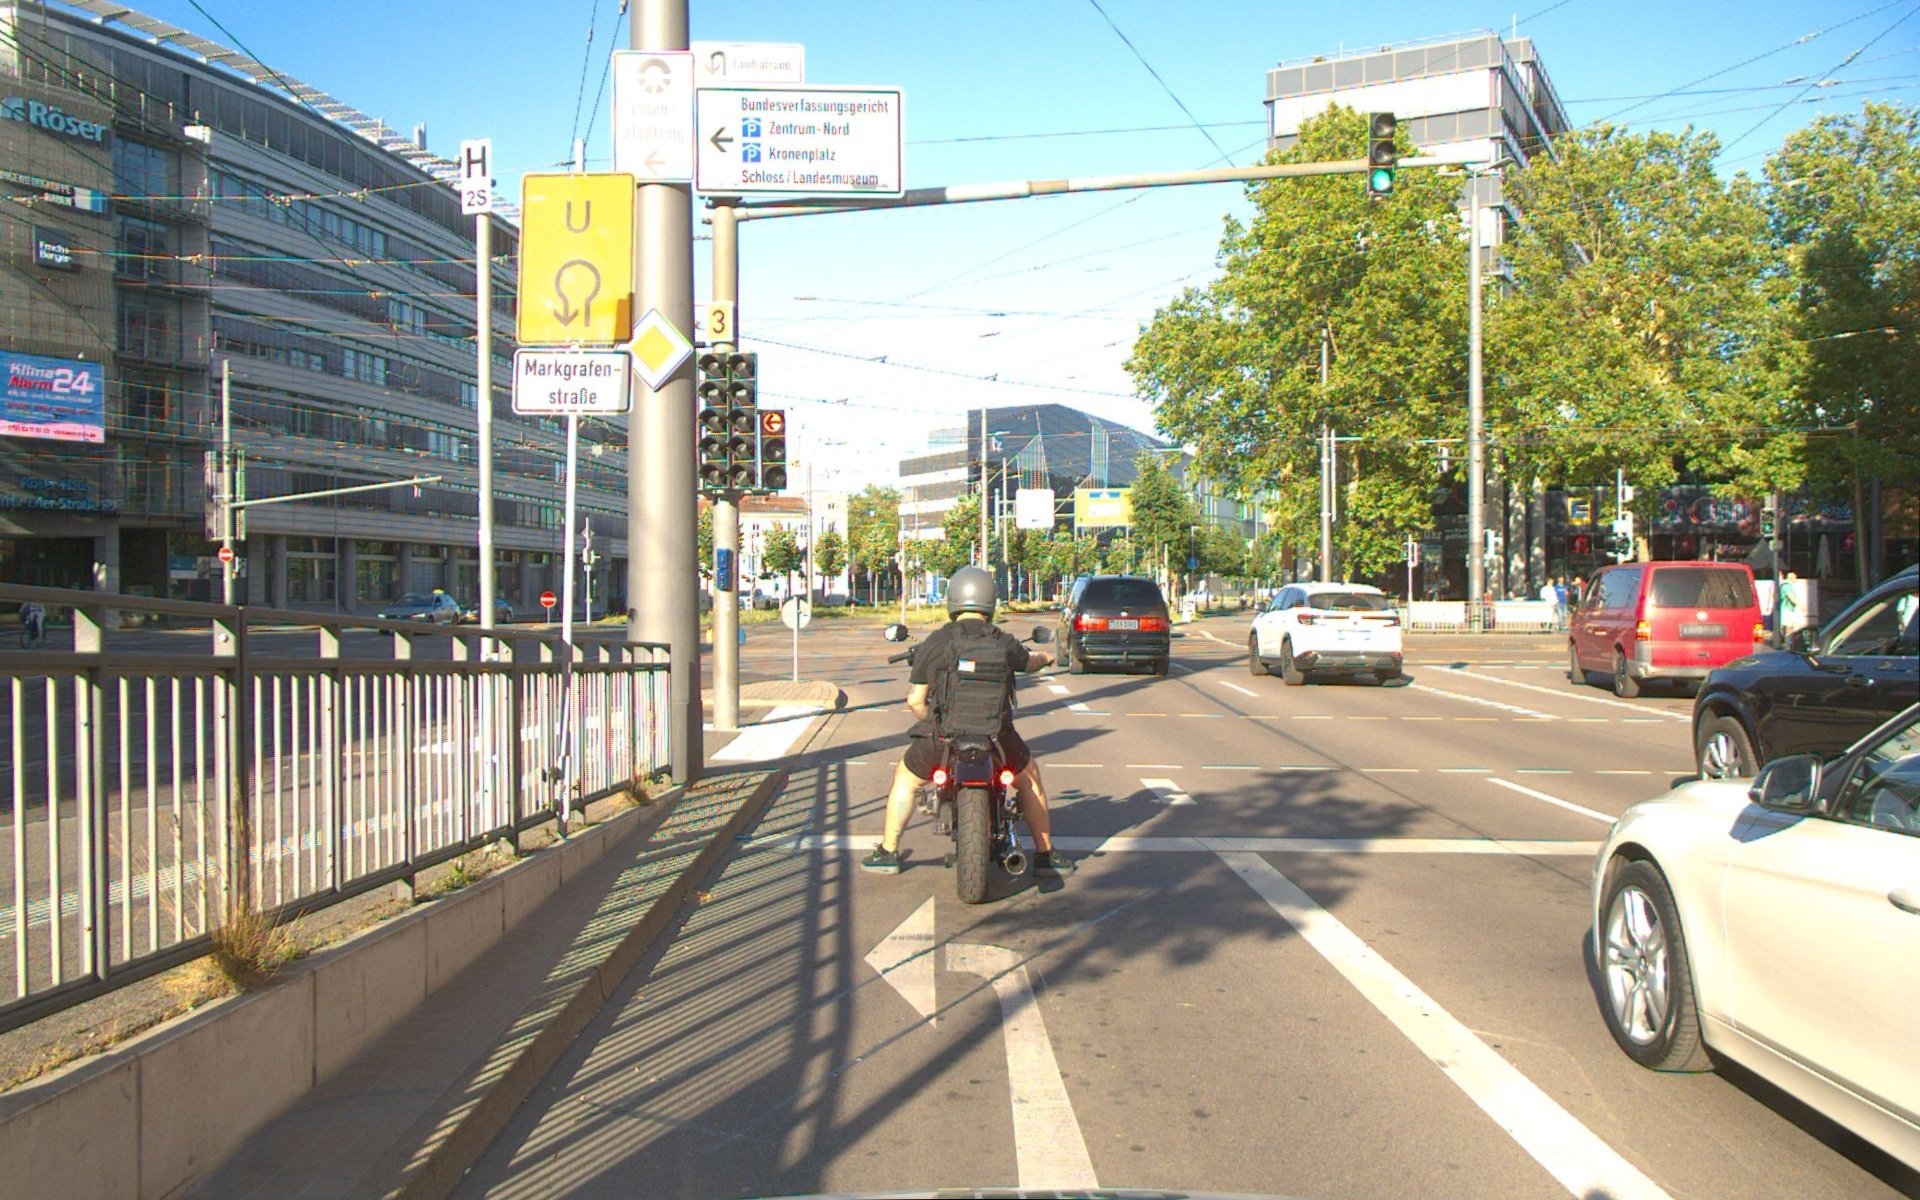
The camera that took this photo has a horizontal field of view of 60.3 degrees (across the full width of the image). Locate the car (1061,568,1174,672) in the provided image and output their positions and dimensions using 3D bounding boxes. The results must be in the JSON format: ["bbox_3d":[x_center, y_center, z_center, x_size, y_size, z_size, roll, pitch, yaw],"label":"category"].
[{"bbox_3d":[2.757,0.343,29.696,1.766,1.708,4.042,1,0,2],"label":"car"}]

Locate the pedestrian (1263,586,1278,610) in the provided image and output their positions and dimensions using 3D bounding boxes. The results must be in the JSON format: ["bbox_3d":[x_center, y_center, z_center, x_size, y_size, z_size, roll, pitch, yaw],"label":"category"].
[{"bbox_3d":[17.655,-0.106,94.172,0.802,1.337,0.638,1,-1,8],"label":"pedestrian"}]

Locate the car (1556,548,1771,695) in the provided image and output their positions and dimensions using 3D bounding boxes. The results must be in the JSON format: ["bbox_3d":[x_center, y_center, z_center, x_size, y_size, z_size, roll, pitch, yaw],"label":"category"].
[{"bbox_3d":[10.692,0.318,25.491,1.765,2.044,4.476,-1,0,6],"label":"car"}]

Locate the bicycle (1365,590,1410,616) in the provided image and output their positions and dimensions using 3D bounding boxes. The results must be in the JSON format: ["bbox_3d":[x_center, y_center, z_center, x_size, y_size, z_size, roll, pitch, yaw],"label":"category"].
[{"bbox_3d":[18.236,0.144,70.603,1.842,1.064,0.360,1,-1,-2],"label":"bicycle"}]

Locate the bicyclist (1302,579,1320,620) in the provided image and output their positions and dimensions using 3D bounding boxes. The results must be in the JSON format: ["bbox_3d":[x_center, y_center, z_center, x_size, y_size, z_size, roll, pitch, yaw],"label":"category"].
[{"bbox_3d":[14.532,-0.010,68.431,0.673,1.702,0.541,0,-1,18],"label":"bicyclist"}]

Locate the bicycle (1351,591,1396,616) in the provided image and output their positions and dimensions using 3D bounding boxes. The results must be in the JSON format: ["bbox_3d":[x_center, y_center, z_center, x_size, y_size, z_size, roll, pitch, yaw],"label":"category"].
[{"bbox_3d":[18.194,0.146,72.777,1.842,1.064,0.360,1,0,-2],"label":"bicycle"}]

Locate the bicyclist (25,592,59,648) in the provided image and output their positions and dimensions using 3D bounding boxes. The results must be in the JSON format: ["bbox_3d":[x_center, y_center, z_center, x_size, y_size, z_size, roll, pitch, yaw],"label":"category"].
[{"bbox_3d":[-26.066,0.568,46.979,0.574,1.560,0.650,1,-1,-1],"label":"bicyclist"}]

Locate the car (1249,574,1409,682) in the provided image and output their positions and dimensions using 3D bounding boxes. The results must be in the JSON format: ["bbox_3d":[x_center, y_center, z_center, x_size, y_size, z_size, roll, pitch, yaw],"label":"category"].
[{"bbox_3d":[5.990,0.445,27.279,1.696,1.626,4.040,1,0,-1],"label":"car"}]

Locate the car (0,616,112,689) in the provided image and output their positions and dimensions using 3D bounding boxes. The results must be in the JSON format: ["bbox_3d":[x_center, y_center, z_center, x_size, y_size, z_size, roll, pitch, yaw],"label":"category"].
[{"bbox_3d":[-14.713,0.795,25.419,2.835,1.081,1.235,1,-1,-22],"label":"car"}]

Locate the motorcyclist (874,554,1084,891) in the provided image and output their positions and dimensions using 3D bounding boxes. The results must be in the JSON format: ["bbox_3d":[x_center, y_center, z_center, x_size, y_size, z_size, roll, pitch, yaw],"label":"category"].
[{"bbox_3d":[0.087,0.589,8.429,1.009,1.621,0.873,0,0,-1],"label":"motorcyclist"}]

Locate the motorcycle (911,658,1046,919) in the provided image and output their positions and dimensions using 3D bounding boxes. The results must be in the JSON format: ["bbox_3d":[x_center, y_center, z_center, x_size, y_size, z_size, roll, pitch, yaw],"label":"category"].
[{"bbox_3d":[0.069,0.884,8.515,0.588,1.054,2.233,1,1,-1],"label":"motorcycle"}]

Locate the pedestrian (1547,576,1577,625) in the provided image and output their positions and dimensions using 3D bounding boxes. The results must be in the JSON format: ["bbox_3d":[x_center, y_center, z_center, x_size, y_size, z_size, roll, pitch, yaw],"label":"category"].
[{"bbox_3d":[18.686,0.023,51.314,0.557,1.505,0.698,1,-1,-19],"label":"pedestrian"}]

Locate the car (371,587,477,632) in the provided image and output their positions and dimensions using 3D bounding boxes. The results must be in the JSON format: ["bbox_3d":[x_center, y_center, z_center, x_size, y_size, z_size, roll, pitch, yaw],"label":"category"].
[{"bbox_3d":[-20.019,0.343,62.000,1.786,1.596,4.698,-1,0,9],"label":"car"}]

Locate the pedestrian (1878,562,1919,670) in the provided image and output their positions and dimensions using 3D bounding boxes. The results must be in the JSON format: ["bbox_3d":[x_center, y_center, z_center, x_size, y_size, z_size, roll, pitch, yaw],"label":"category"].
[{"bbox_3d":[16.282,0.264,28.336,0.581,1.811,0.681,-3,-1,-3],"label":"pedestrian"}]

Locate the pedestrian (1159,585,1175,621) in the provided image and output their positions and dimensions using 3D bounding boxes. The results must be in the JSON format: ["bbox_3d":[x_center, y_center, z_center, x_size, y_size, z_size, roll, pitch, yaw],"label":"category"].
[{"bbox_3d":[8.961,0.130,71.658,0.576,1.584,0.488,1,-1,-9],"label":"pedestrian"}]

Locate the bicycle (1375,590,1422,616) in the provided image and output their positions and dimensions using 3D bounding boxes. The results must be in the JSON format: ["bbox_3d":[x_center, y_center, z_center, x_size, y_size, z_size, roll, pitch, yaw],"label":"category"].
[{"bbox_3d":[18.292,0.111,69.008,1.842,1.064,0.360,1,-1,-2],"label":"bicycle"}]

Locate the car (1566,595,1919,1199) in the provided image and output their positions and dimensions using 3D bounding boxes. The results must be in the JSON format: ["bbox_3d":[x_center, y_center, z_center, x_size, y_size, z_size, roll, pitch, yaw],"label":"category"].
[{"bbox_3d":[3.047,0.743,3.711,1.696,1.482,4.417,1,0,-1],"label":"car"}]

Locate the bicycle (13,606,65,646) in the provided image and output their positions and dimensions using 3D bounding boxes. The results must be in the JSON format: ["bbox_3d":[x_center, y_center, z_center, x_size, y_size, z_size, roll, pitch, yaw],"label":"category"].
[{"bbox_3d":[-26.087,0.727,46.881,0.450,1.109,1.814,-2,0,-1],"label":"bicycle"}]

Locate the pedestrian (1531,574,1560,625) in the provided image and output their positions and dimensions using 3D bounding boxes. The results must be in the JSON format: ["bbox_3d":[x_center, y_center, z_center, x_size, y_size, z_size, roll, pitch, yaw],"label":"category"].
[{"bbox_3d":[18.105,-0.012,51.116,0.556,1.559,0.700,1,-1,-12],"label":"pedestrian"}]

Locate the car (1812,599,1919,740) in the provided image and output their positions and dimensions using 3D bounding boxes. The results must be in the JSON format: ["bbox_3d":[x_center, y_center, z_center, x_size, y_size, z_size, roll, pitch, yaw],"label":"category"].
[{"bbox_3d":[10.884,0.738,17.234,1.698,1.475,4.037,1,0,-5],"label":"car"}]

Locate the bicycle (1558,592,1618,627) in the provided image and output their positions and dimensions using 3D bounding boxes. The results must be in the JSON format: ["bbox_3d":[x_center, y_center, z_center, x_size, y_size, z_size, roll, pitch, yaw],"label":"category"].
[{"bbox_3d":[22.644,0.348,59.686,2.001,1.235,0.421,1,-1,-1],"label":"bicycle"}]

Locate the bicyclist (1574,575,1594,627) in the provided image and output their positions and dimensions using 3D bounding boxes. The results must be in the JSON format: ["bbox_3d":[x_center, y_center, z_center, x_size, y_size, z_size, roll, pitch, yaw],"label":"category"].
[{"bbox_3d":[22.513,0.032,59.690,0.572,1.870,0.402,1,-1,-1],"label":"bicyclist"}]

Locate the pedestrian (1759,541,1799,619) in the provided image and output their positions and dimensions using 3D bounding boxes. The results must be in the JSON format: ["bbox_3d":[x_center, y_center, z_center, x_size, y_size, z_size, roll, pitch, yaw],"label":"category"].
[{"bbox_3d":[20.378,-0.497,41.178,0.774,1.931,0.817,1,-1,19],"label":"pedestrian"}]

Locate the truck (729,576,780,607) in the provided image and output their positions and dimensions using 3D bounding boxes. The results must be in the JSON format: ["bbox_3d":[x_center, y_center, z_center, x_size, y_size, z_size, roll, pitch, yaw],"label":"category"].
[{"bbox_3d":[-13.778,-0.554,111.259,1.951,1.912,5.160,-3,-1,9],"label":"truck"}]

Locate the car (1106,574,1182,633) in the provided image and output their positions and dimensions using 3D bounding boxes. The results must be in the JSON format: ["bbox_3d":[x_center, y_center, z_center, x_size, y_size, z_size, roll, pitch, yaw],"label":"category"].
[{"bbox_3d":[5.633,0.105,50.946,1.767,1.708,4.039,1,0,-2],"label":"car"}]

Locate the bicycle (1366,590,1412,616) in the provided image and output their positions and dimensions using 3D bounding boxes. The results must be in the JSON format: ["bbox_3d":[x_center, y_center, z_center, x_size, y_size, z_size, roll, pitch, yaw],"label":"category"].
[{"bbox_3d":[18.111,0.124,69.785,1.842,1.064,0.360,1,-1,-2],"label":"bicycle"}]

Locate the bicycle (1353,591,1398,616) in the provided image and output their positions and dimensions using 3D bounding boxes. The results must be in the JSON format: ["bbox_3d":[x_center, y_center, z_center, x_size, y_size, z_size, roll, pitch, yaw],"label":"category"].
[{"bbox_3d":[18.151,0.149,72.275,1.842,1.064,0.360,1,0,-2],"label":"bicycle"}]

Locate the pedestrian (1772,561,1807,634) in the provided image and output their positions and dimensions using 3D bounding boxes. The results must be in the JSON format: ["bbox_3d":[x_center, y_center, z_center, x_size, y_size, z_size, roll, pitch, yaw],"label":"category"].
[{"bbox_3d":[19.887,-0.055,39.655,0.626,1.729,0.723,1,-1,19],"label":"pedestrian"}]

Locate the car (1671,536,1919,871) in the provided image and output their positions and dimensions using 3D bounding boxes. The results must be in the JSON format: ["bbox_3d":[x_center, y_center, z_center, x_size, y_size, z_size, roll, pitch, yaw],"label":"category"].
[{"bbox_3d":[5.882,0.556,9.046,1.698,1.762,4.607,1,0,-5],"label":"car"}]
